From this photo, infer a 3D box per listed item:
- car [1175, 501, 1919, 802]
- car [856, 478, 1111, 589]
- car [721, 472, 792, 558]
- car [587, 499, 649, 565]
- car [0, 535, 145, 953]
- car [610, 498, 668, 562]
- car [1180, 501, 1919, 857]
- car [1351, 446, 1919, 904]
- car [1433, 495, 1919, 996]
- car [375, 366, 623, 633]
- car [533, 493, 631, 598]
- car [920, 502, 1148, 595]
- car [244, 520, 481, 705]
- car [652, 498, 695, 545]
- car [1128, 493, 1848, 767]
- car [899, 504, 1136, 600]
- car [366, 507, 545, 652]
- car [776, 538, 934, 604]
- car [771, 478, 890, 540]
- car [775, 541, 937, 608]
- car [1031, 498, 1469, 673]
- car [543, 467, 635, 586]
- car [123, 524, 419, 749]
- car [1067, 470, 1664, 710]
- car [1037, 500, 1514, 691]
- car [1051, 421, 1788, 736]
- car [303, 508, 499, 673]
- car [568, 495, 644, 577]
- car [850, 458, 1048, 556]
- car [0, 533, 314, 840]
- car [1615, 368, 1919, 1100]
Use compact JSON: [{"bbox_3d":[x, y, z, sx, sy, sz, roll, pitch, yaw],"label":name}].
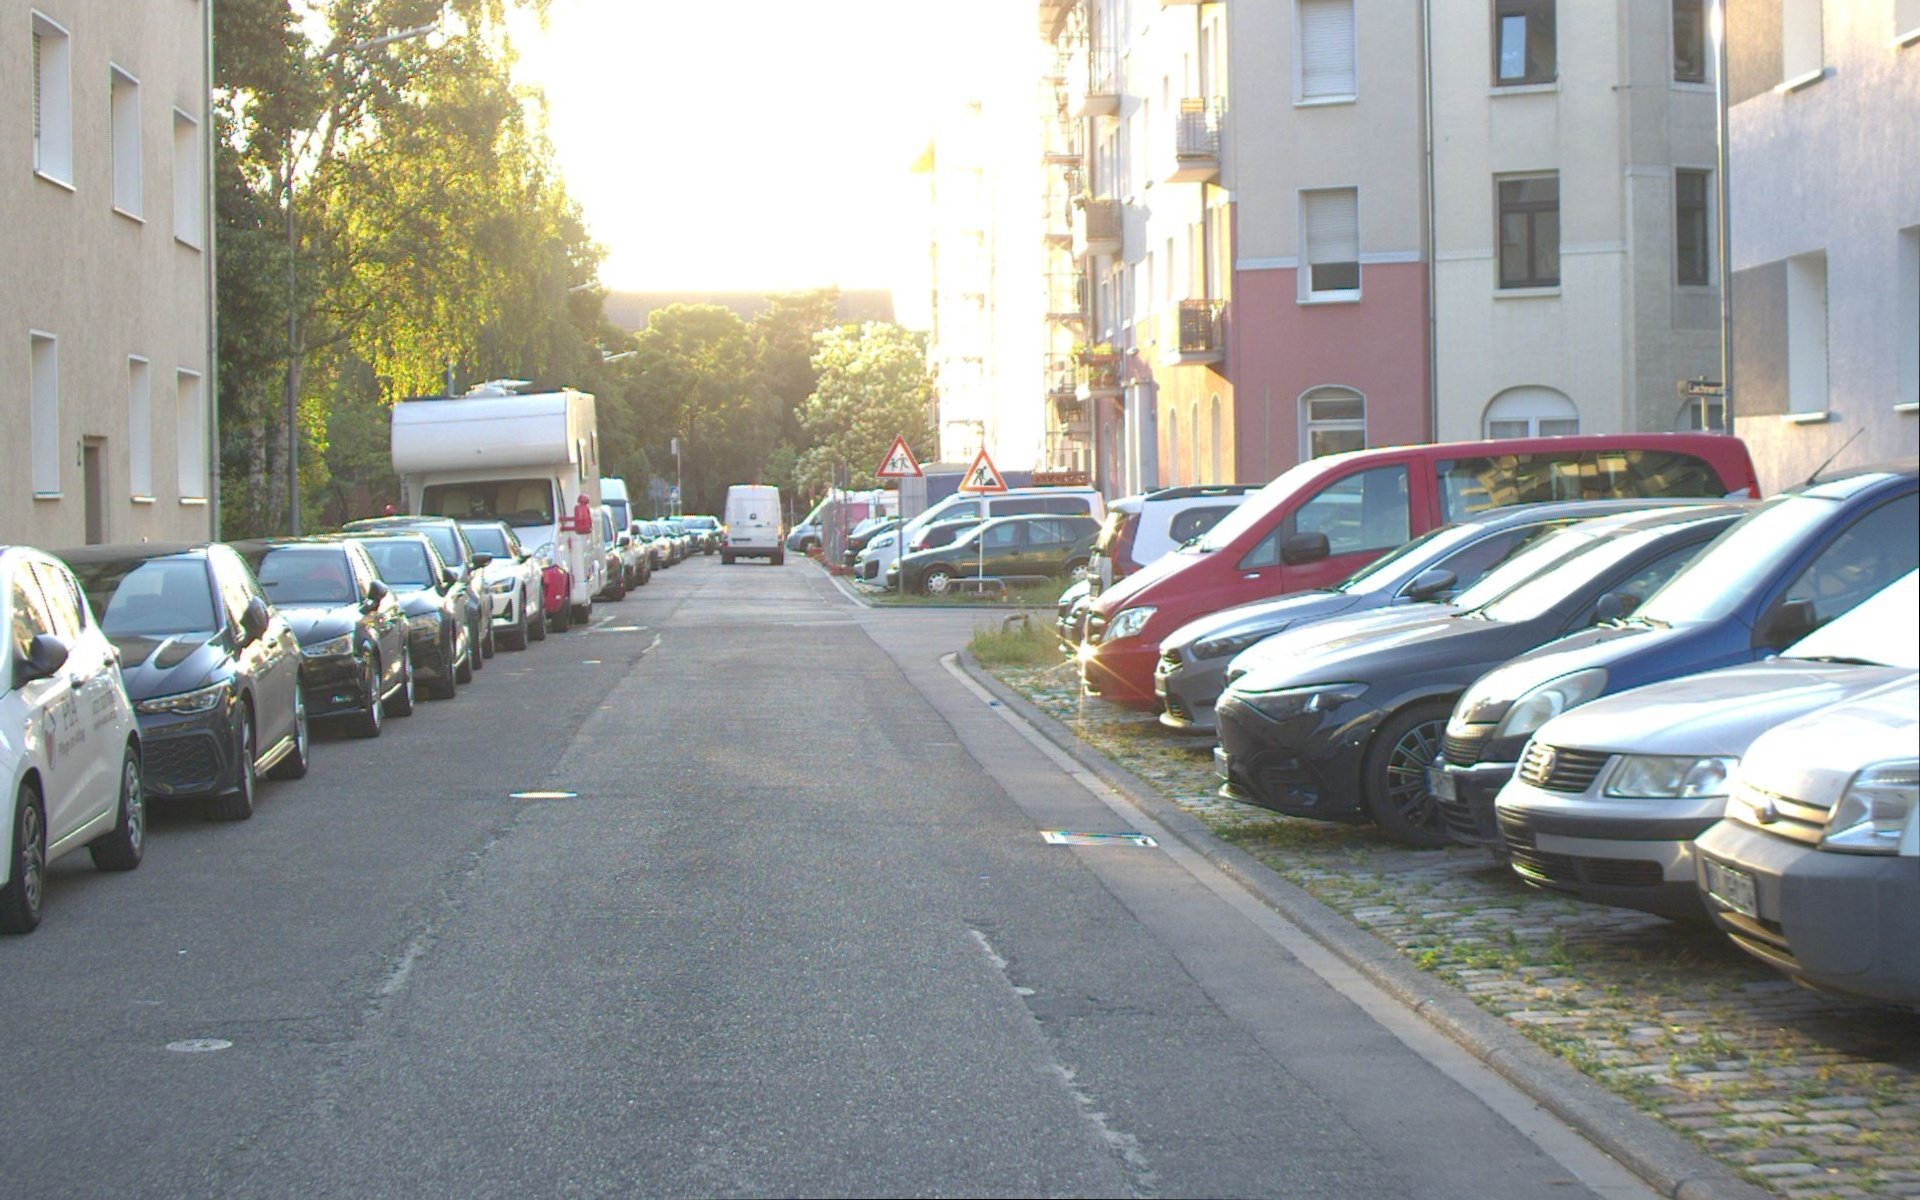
[{"bbox_3d":[3.252,0.249,18.902,3.874,1.411,1.637,-3,1,-5],"label":"car"},{"bbox_3d":[0.440,-1.315,67.310,4.812,1.961,1.739,-2,2,-4],"label":"car"},{"bbox_3d":[-6.807,-2.846,114.862,2.128,2.708,4.834,-2,2,-5],"label":"car"},{"bbox_3d":[-9.856,-1.977,99.381,1.652,1.824,3.877,-2,2,-5],"label":"car"},{"bbox_3d":[-4.401,0.519,13.843,1.615,1.468,3.505,-2,2,-5],"label":"car"},{"bbox_3d":[-9.732,-2.132,104.343,1.652,1.824,3.877,-2,2,-5],"label":"car"},{"bbox_3d":[3.308,0.315,16.275,4.308,1.444,1.655,-3,1,-3],"label":"car"},{"bbox_3d":[3.665,0.230,14.189,3.790,1.689,1.655,-3,1,-3],"label":"car"},{"bbox_3d":[3.737,0.399,11.626,3.955,1.517,1.706,-1,2,-3],"label":"car"},{"bbox_3d":[-6.180,-1.372,47.171,2.619,3.257,7.698,-2,2,-3],"label":"car"},{"bbox_3d":[-7.005,-1.028,63.974,1.652,1.824,3.877,-2,2,-5],"label":"car"},{"bbox_3d":[1.326,-0.944,62.706,3.986,1.525,1.659,-2,2,-4],"label":"car"},{"bbox_3d":[-5.165,0.055,30.123,1.652,1.430,3.877,-2,2,-5],"label":"car"},{"bbox_3d":[-11.726,-3.201,140.511,1.652,1.824,3.877,-2,2,-5],"label":"car"},{"bbox_3d":[3.240,0.159,21.550,4.144,1.466,1.637,-3,1,-4],"label":"car"},{"bbox_3d":[0.984,-0.854,60.368,3.986,1.525,1.659,-2,2,-4],"label":"car"},{"bbox_3d":[-5.815,-0.278,39.954,1.652,1.536,3.877,-2,2,-3],"label":"car"},{"bbox_3d":[-2.729,-0.767,88.796,3.986,1.525,1.659,-2,2,-4],"label":"car"},{"bbox_3d":[-5.410,-3.798,142.982,4.812,2.399,1.739,-2,2,-4],"label":"car"},{"bbox_3d":[-2.650,-0.652,86.772,3.986,1.525,1.659,-2,2,-4],"label":"car"},{"bbox_3d":[2.664,-0.152,32.102,3.811,1.423,1.635,-3,1,-4],"label":"car"},{"bbox_3d":[-8.057,-1.612,74.940,1.769,2.437,5.146,-2,2,-5],"label":"car"},{"bbox_3d":[-4.959,0.204,25.165,1.652,1.430,3.797,-2,2,-5],"label":"car"},{"bbox_3d":[3.112,-0.099,26.941,4.323,1.632,1.818,-3,1,-4],"label":"car"},{"bbox_3d":[2.661,-0.057,29.502,3.811,1.423,1.635,-3,1,-4],"label":"car"},{"bbox_3d":[3.119,-0.173,24.034,4.721,1.903,2.059,-3,1,-4],"label":"car"},{"bbox_3d":[-5.748,-0.146,35.714,1.652,1.559,3.877,-2,2,-5],"label":"car"},{"bbox_3d":[-8.330,-1.522,81.094,1.652,1.824,3.877,-2,2,-5],"label":"car"},{"bbox_3d":[-0.258,-1.992,73.426,3.986,2.007,2.001,-1,1,-7],"label":"car"},{"bbox_3d":[-4.613,0.393,18.836,1.659,1.430,4.032,-2,2,-5],"label":"car"},{"bbox_3d":[4.181,0.295,9.685,4.279,1.854,1.742,-1,1,-3],"label":"car"}]
